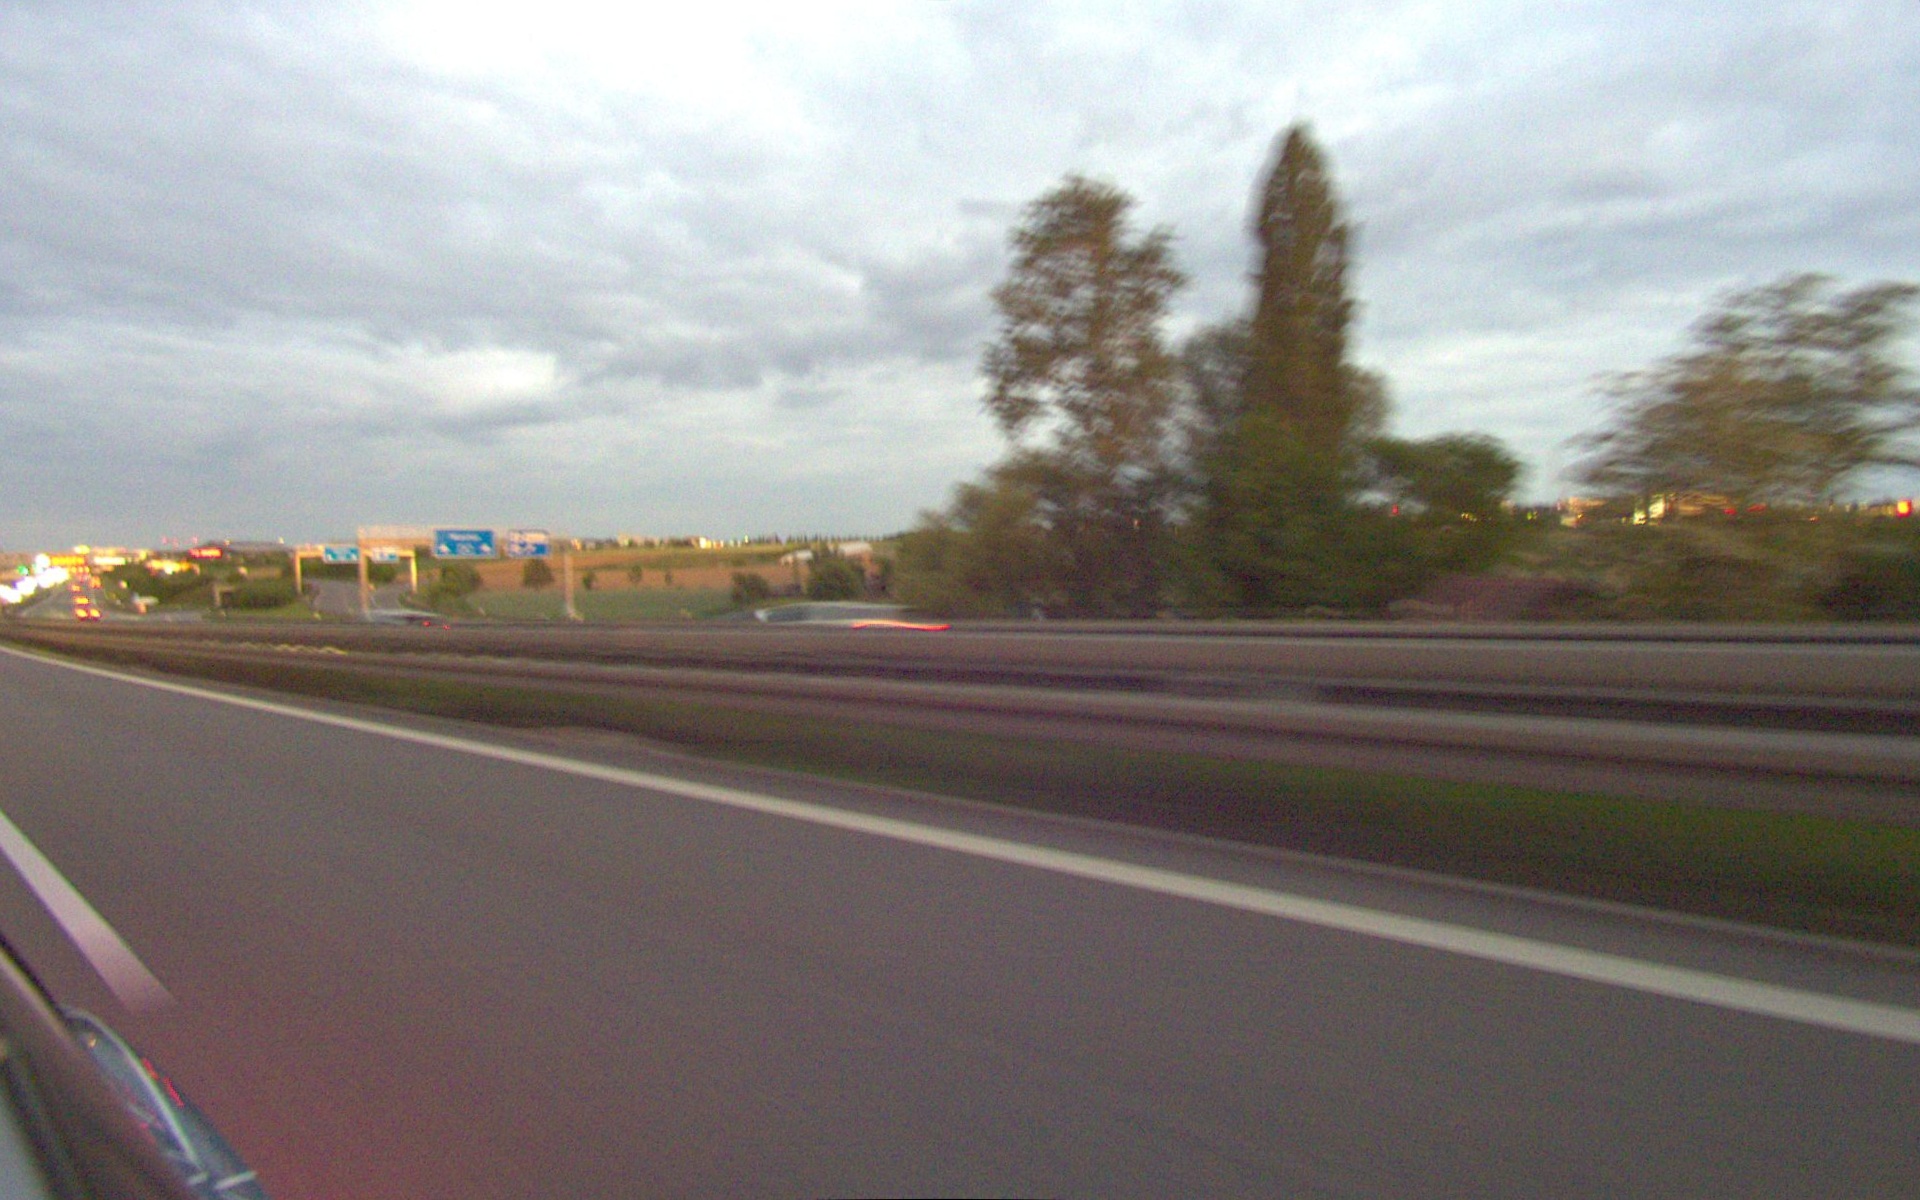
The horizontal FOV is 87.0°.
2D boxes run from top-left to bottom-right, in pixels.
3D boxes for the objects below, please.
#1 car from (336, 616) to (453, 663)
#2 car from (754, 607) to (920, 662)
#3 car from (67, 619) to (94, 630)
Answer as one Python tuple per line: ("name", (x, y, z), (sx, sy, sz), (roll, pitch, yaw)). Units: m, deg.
("car", (-18.751, 1.288, 33.478), (4.326, 1.414, 1.973), (-2, -1, 40))
("car", (-3.071, 0.820, 24.786), (4.181, 1.236, 1.703), (-2, -1, 42))
("car", (-108.377, 3.044, 124.730), (4.864, 1.368, 1.972), (-2, -1, 42))
